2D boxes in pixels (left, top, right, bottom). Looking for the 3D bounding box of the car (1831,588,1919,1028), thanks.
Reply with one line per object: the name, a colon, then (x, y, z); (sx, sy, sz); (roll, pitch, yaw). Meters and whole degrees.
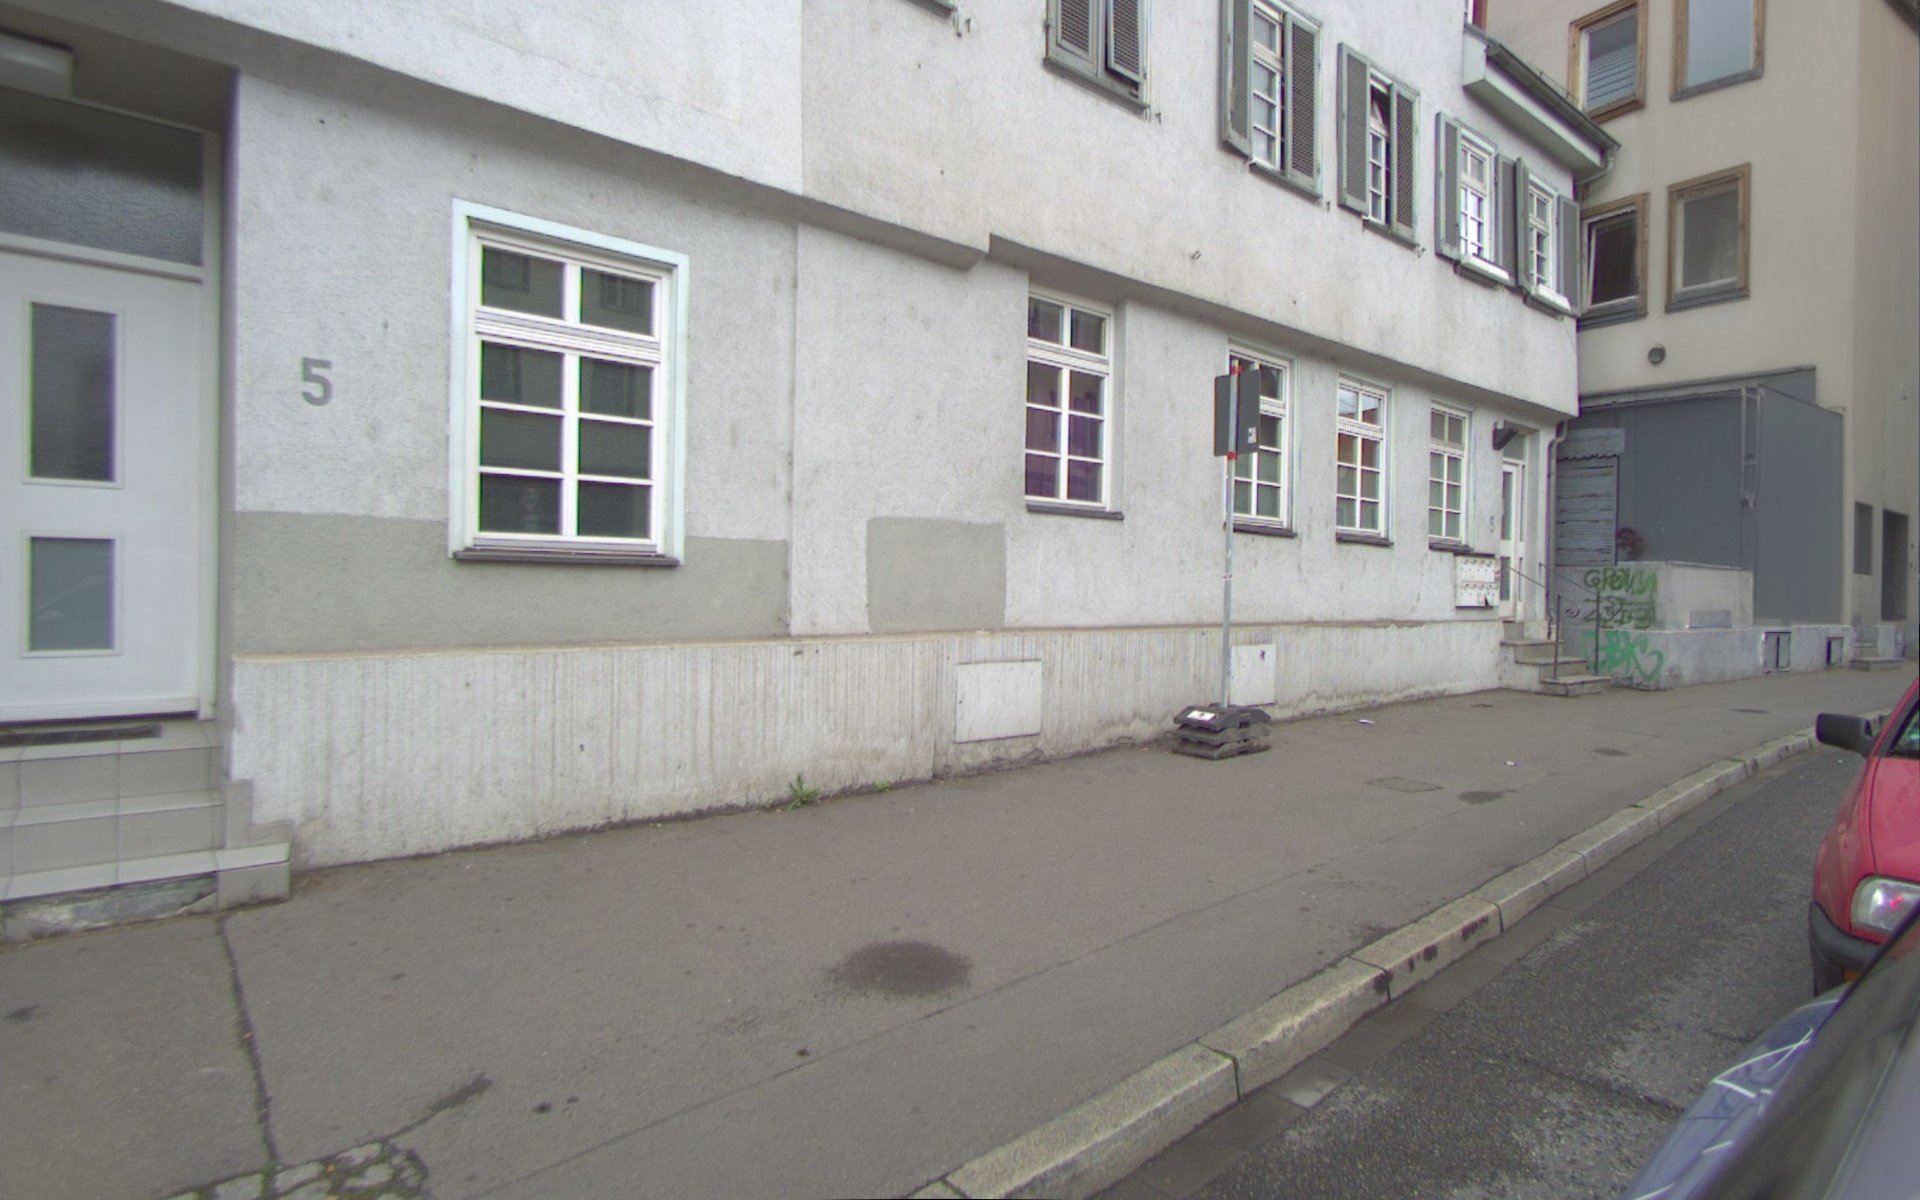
car: (5.059, 0.701, 4.151); (3.950, 1.445, 1.684); (0, 1, -41)
